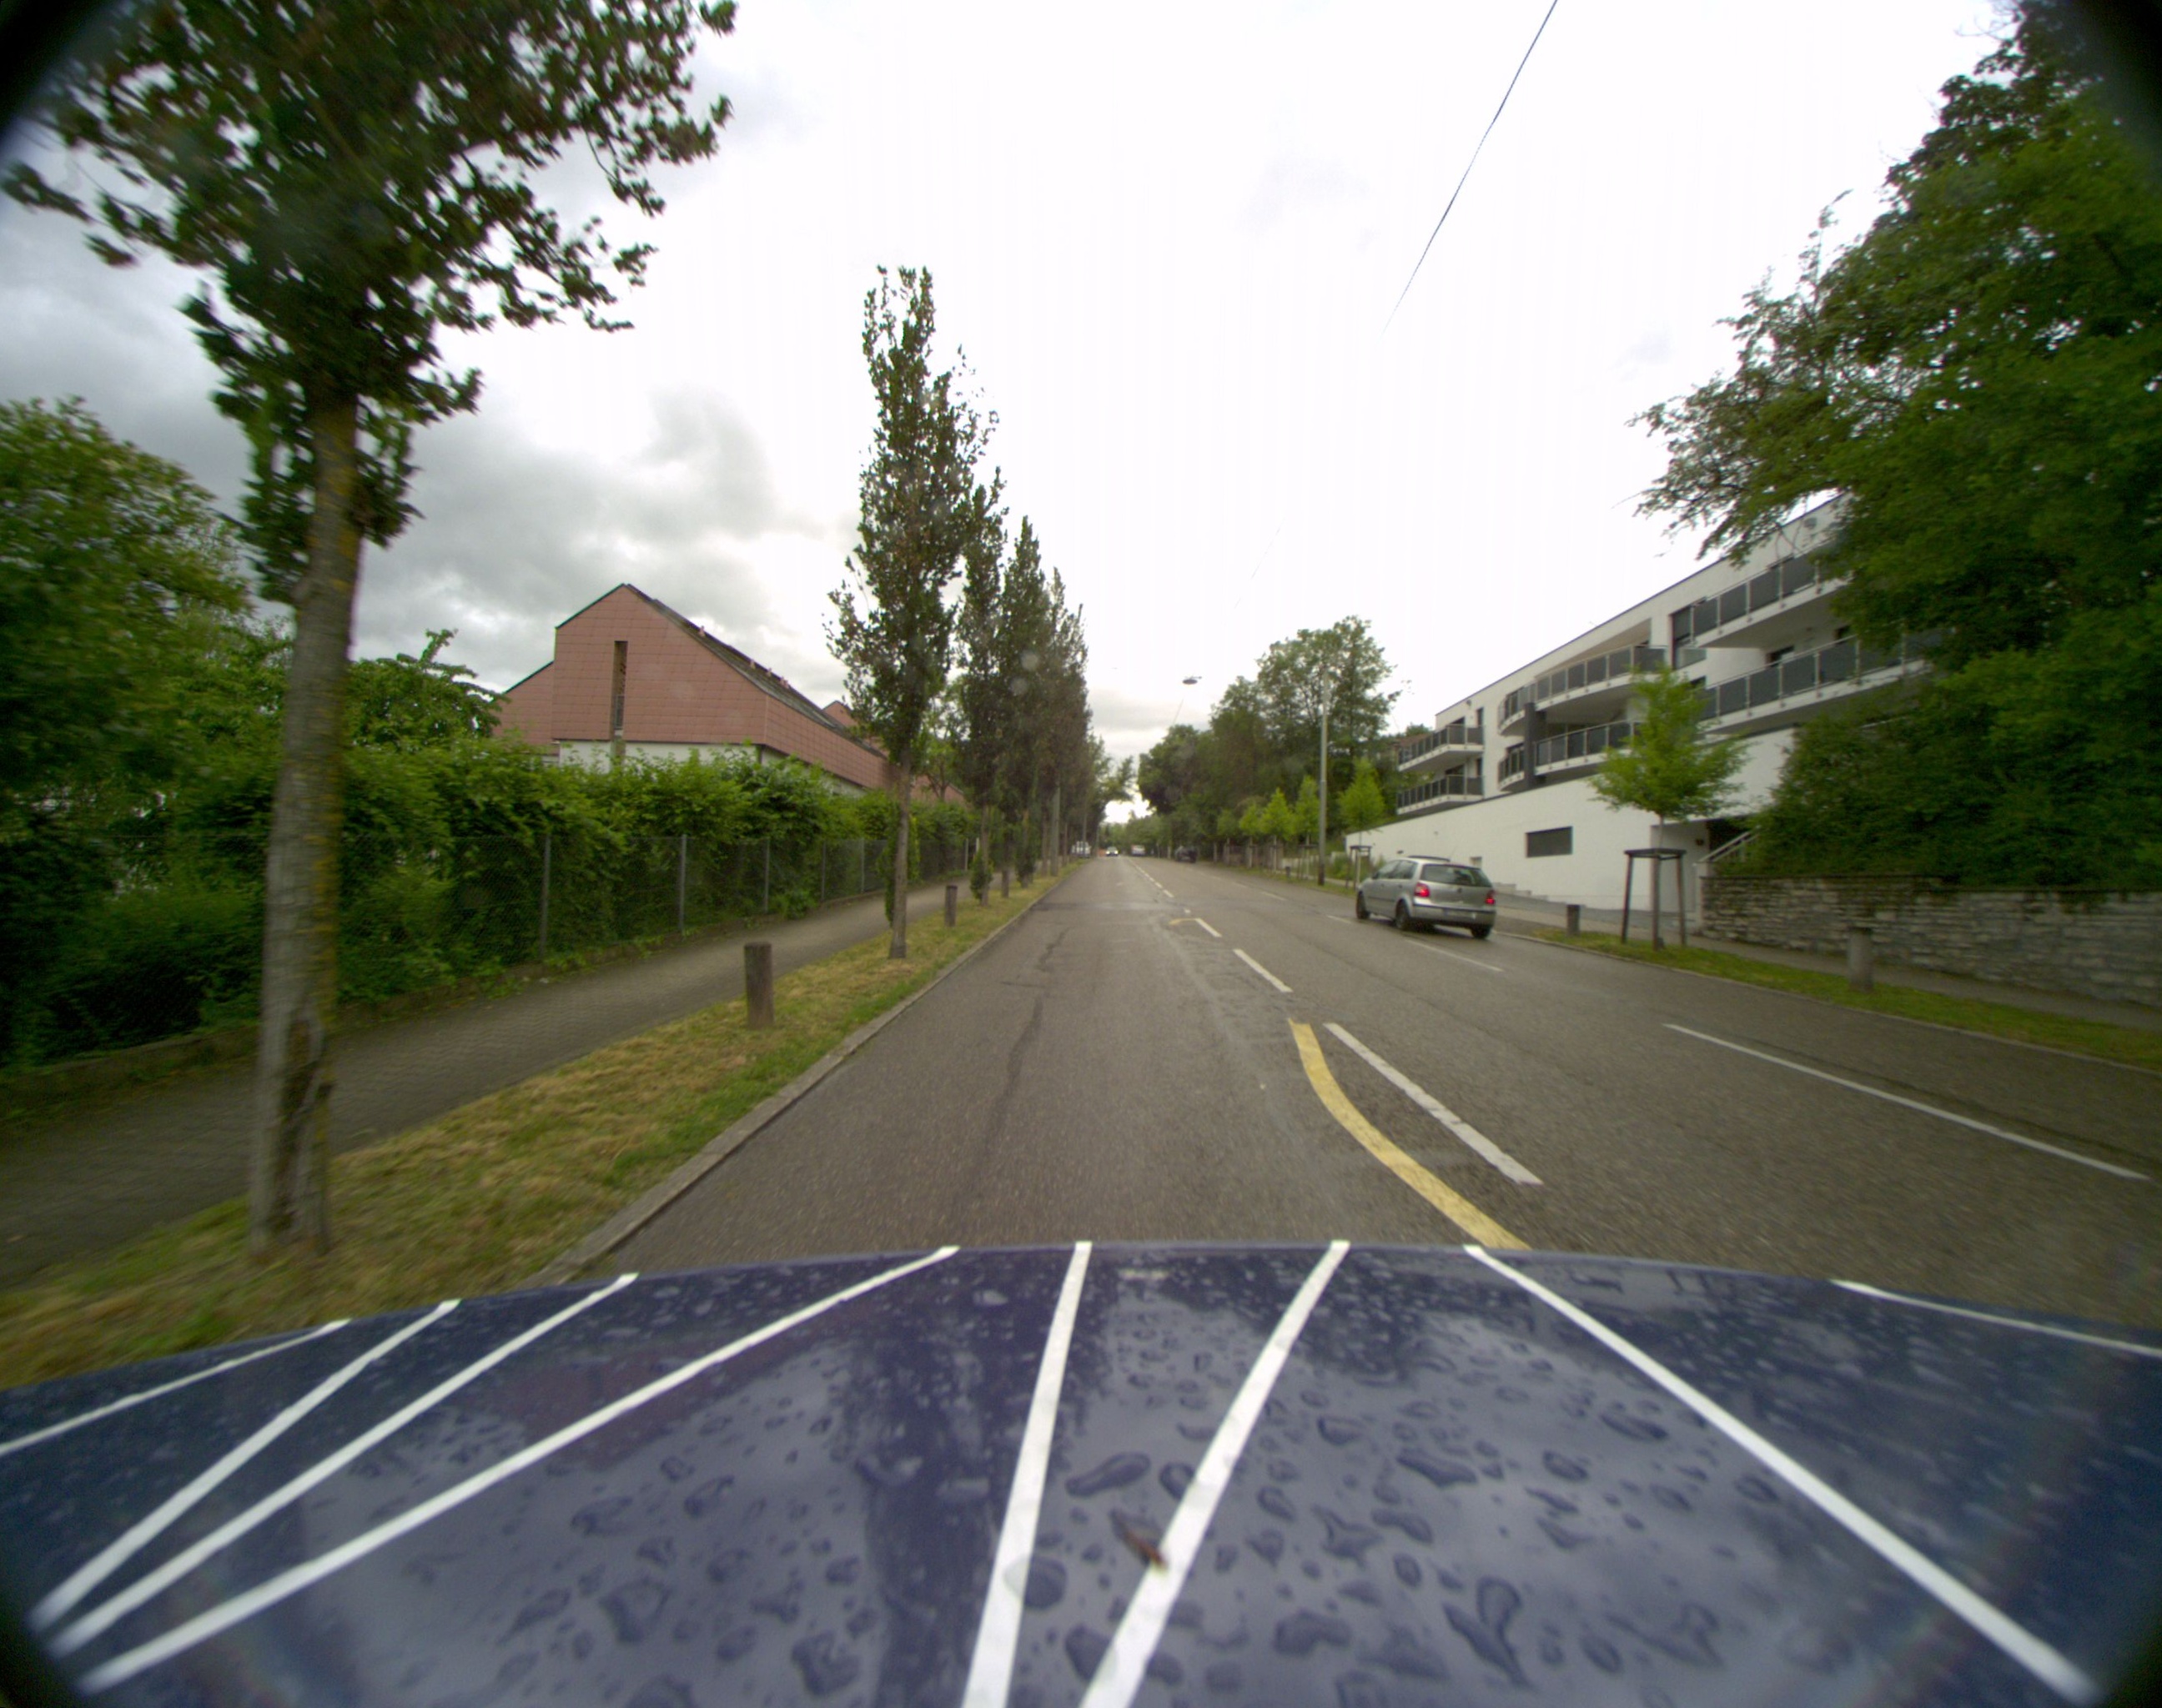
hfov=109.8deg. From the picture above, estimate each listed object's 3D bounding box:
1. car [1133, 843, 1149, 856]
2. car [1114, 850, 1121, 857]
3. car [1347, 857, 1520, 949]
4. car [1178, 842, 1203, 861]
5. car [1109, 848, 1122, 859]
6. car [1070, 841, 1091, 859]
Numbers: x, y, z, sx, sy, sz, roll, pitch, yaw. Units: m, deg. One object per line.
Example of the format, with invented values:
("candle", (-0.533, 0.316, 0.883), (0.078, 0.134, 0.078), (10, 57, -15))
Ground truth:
("car", (7.545, -0.562, 95.528), (1.766, 1.477, 4.000), (3, 1, 3))
("car", (9.474, -0.124, 195.947), (1.798, 1.501, 4.093), (1, 1, 2))
("car", (6.931, 0.875, 15.412), (1.769, 1.477, 3.801), (5, 0, 2))
("car", (10.016, -0.250, 69.867), (1.749, 1.540, 3.917), (5, 1, 2))
("car", (5.649, -0.080, 124.079), (1.998, 1.674, 4.002), (-1, -1, 5))
("car", (-0.025, -0.397, 73.359), (1.829, 1.620, 4.000), (4, 1, 1))
